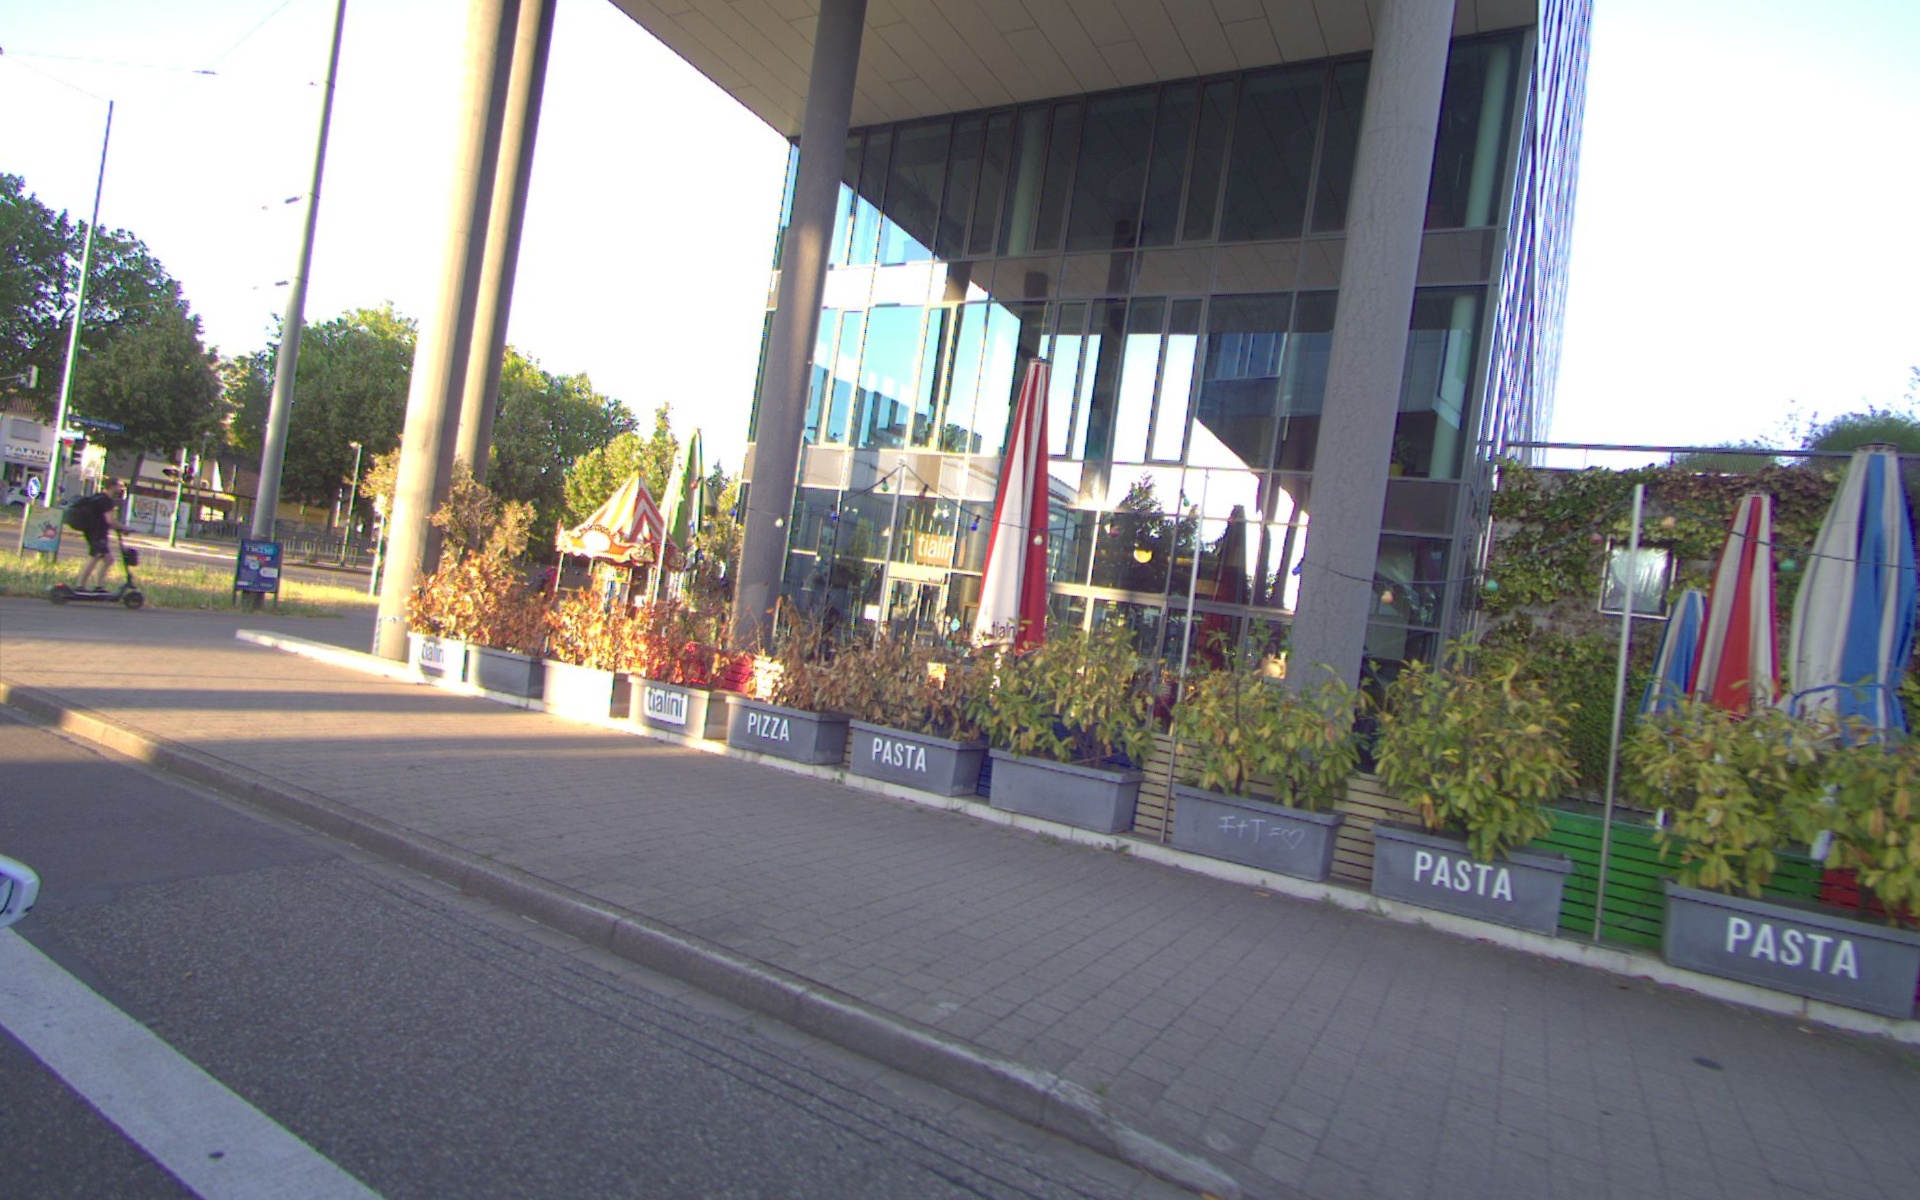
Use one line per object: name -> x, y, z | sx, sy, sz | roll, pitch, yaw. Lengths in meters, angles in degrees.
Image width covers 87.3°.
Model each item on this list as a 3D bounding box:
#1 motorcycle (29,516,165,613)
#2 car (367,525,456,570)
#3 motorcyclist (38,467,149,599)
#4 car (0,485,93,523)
motorcycle -> -12.660, -0.503, 14.793 | 0.557, 1.202, 1.313 | 8, -1, 33
car -> -43.915, -4.169, 80.630 | 2.197, 2.580, 5.595 | 7, -2, 39
motorcyclist -> -12.682, -0.969, 14.743 | 0.665, 1.767, 0.901 | 8, -1, 32
car -> -51.747, -5.427, 56.981 | 1.641, 1.456, 3.737 | 6, -3, 41
